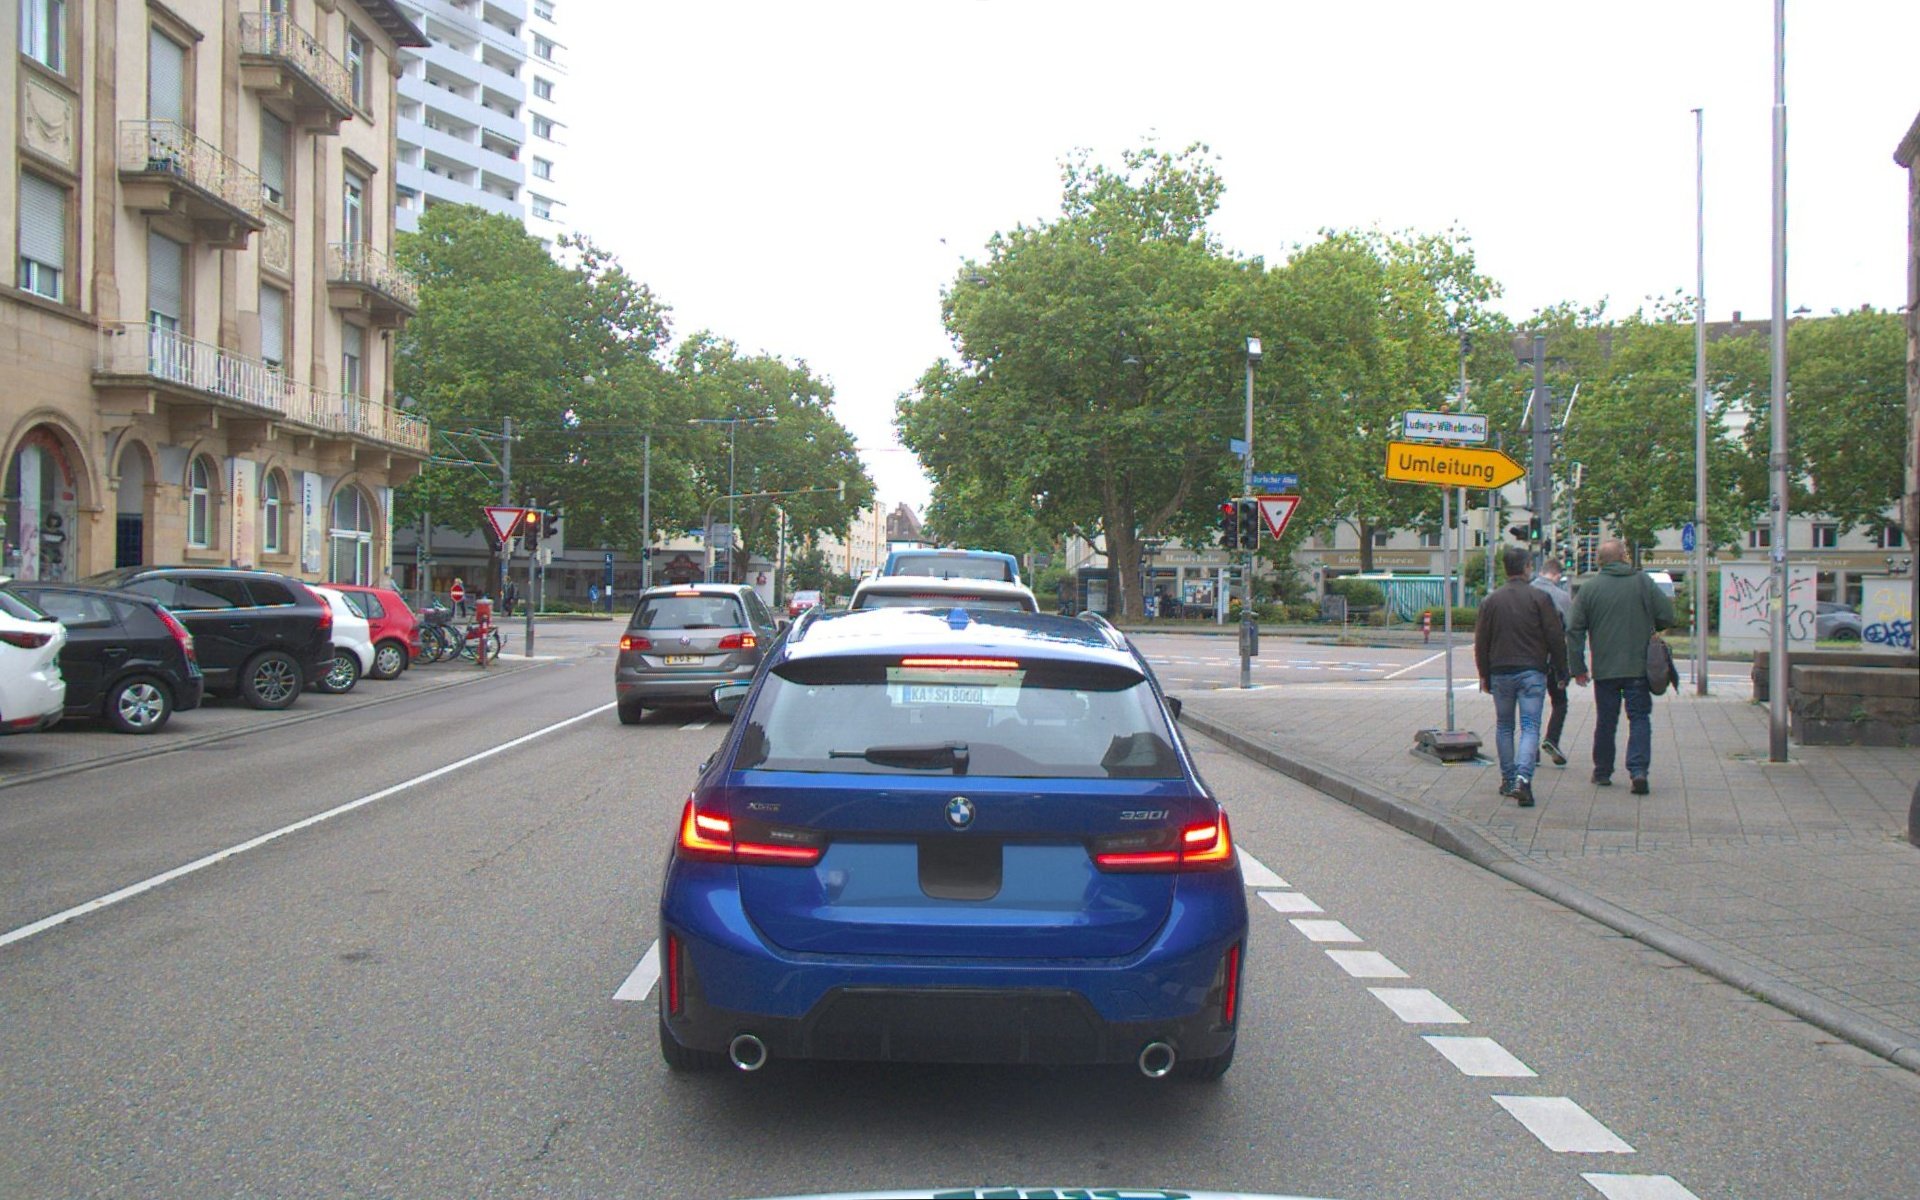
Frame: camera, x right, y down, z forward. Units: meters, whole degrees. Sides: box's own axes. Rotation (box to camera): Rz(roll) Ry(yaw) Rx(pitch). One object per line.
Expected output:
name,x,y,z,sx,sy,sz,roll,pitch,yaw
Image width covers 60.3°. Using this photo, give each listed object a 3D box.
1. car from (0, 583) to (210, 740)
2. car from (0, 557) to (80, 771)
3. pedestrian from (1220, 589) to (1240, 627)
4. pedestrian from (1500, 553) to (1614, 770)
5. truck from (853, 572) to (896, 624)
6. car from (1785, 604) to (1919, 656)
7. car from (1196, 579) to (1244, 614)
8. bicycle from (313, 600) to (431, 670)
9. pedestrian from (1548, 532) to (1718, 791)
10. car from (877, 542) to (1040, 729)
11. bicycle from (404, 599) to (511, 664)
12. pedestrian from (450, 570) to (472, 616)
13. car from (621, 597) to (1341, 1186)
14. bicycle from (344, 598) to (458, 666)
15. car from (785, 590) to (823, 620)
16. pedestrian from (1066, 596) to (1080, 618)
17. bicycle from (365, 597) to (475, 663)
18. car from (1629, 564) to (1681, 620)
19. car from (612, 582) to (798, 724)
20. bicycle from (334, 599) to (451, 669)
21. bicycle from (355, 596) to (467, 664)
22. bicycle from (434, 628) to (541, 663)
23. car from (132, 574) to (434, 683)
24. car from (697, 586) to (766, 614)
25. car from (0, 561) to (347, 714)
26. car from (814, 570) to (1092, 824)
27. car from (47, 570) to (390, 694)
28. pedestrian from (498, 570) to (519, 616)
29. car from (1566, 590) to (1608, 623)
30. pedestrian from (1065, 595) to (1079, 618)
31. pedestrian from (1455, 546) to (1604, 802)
car,-9.898,0.585,16.689,3.959,1.521,1.708,1,0,-39
car,-9.597,0.487,13.701,3.937,1.754,1.826,1,0,-26
pedestrian,12.678,0.382,77.604,0.768,1.774,0.925,0,0,-2
pedestrian,4.894,0.483,13.608,0.619,1.702,0.970,-2,0,6
truck,-4.158,-0.134,80.720,2.033,2.450,5.460,0,1,-3
car,28.624,0.931,52.901,3.895,1.589,1.687,0,0,22
car,16.951,-0.204,107.662,2.130,2.239,3.999,0,0,23
bicycle,-10.302,0.608,28.994,1.848,1.053,0.442,5,0,2
pedestrian,4.888,0.427,12.072,0.788,1.789,0.969,-2,0,-1
car,-0.047,0.373,20.163,1.778,2.040,3.999,0,0,-1
bicycle,-9.779,0.614,32.200,1.849,1.053,0.442,6,0,-3
pedestrian,-19.866,-0.276,65.880,0.661,1.802,0.726,0,0,-1
car,0.026,0.721,6.265,1.778,1.430,4.319,0,0,-1
bicycle,-10.249,0.585,30.347,1.849,1.053,0.442,6,0,-3
car,-7.836,0.251,83.065,1.615,1.472,3.510,0,0,-1
pedestrian,7.046,0.436,103.132,0.835,1.337,0.762,0,0,-1
bicycle,-10.322,0.574,31.643,1.849,1.053,0.442,6,0,-3
car,34.944,-0.401,83.055,2.191,2.685,5.443,1,0,25
car,-2.996,0.567,20.150,1.697,1.551,3.999,0,0,-1
bicycle,-10.227,0.606,29.812,1.849,1.053,0.442,6,0,-3
bicycle,-10.277,0.560,31.009,1.849,1.053,0.442,6,0,-3
bicycle,-9.476,0.914,33.245,1.849,0.453,1.028,6,2,-3
car,-10.360,0.435,25.517,1.653,1.498,3.978,3,1,40
car,-14.684,-0.020,106.293,3.953,1.736,1.976,1,0,-35
car,-9.829,0.430,20.027,4.192,1.680,1.704,1,0,-44
car,-0.074,0.610,12.621,1.778,1.620,3.999,0,0,-1
car,-10.082,0.468,22.676,3.968,1.498,1.540,3,0,-44
pedestrian,-18.046,-0.284,66.089,0.661,1.802,0.726,0,0,-1
car,30.859,0.294,81.321,1.632,1.542,3.935,1,0,25
pedestrian,7.030,0.412,103.987,0.801,1.396,0.762,0,0,-1
pedestrian,3.997,0.496,11.670,0.660,1.715,0.969,-2,0,-1
